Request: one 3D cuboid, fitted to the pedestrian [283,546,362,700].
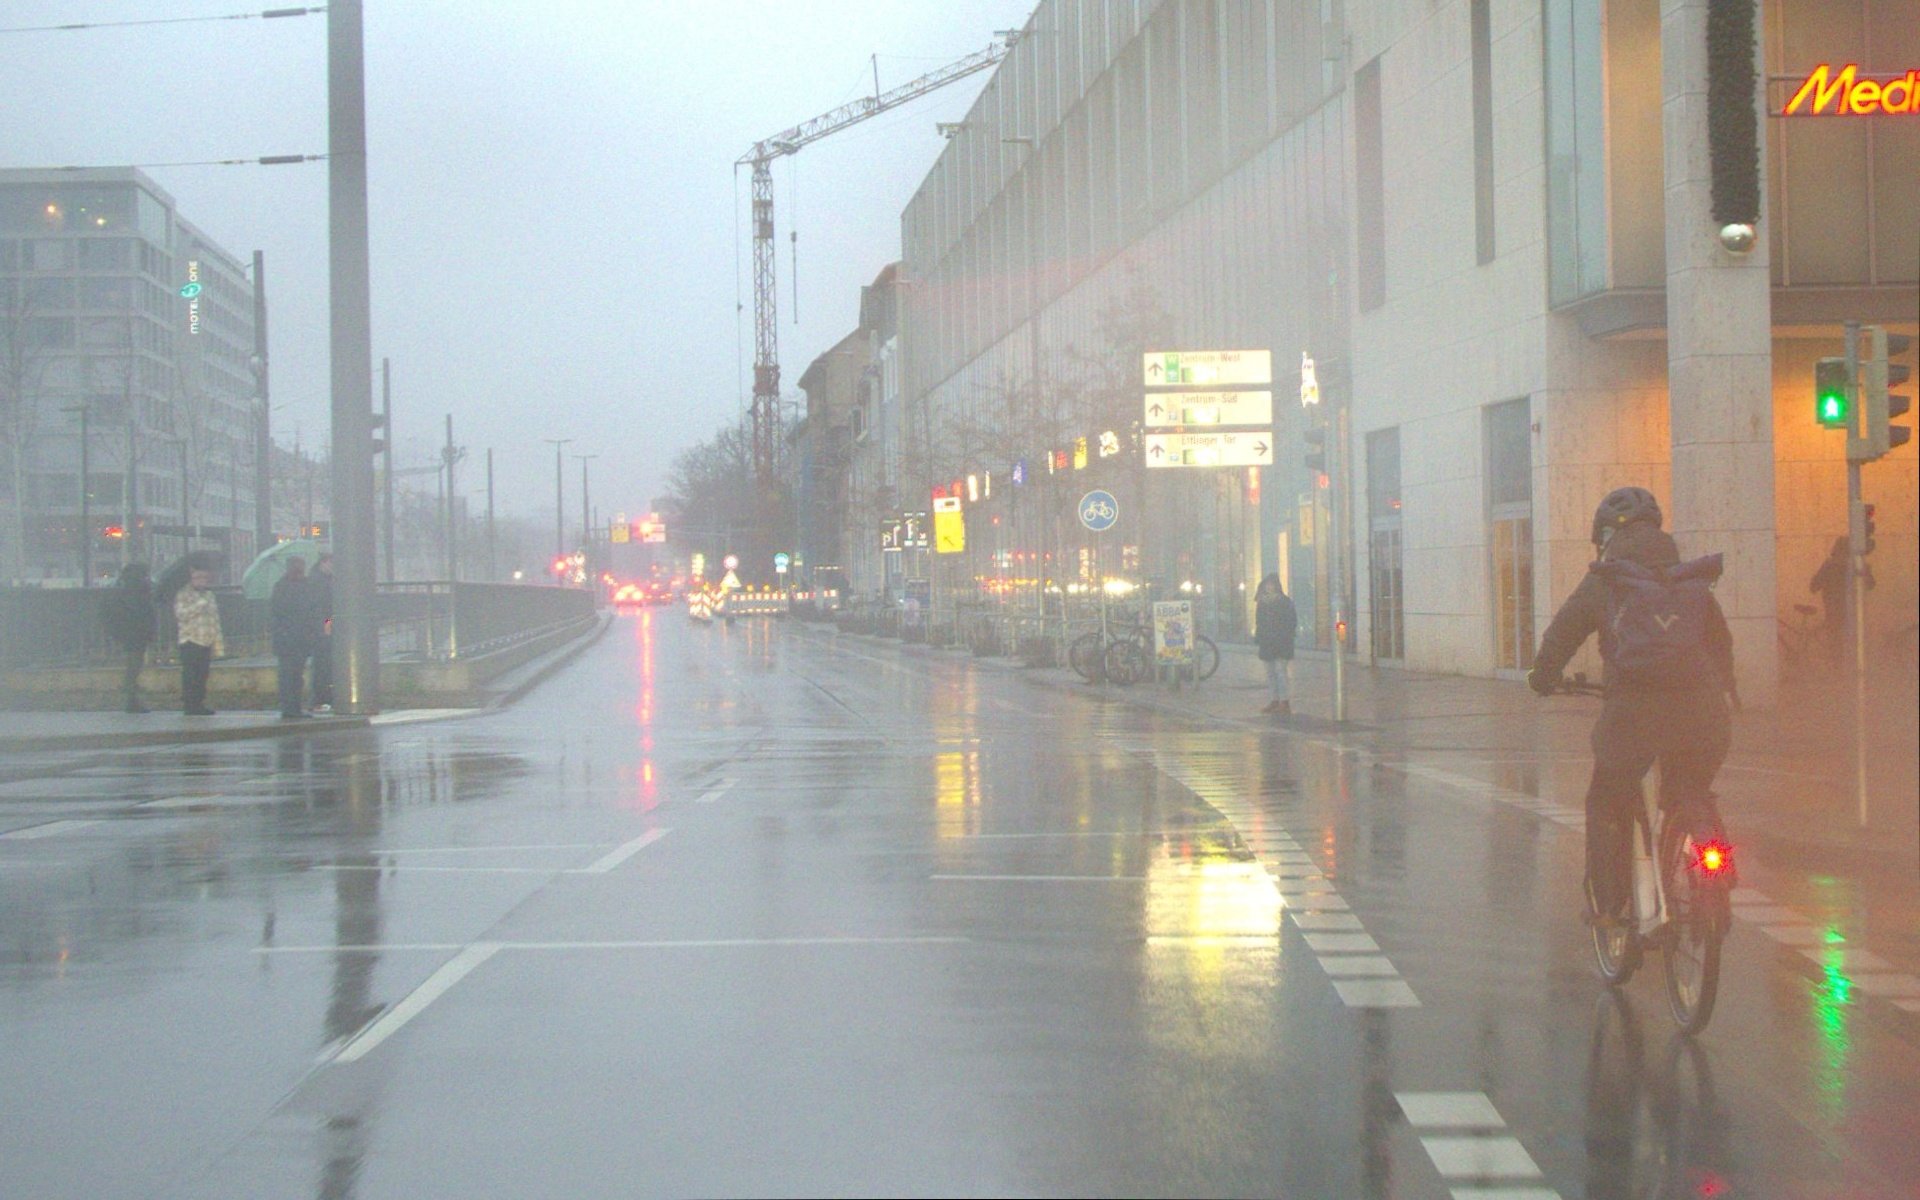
[{"bbox_3d":[-7.032,0.249,37.918,0.612,1.680,0.577,1,0,40],"label":"pedestrian"}]

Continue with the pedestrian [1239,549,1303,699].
[{"bbox_3d":[3.587,0.277,39.696,0.636,1.703,0.573,-1,0,-3],"label":"pedestrian"}]

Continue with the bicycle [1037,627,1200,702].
[{"bbox_3d":[2.440,0.992,52.950,2.425,1.095,0.712,-1,0,-3],"label":"bicycle"}]

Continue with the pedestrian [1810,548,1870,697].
[{"bbox_3d":[10.349,0.262,40.433,0.600,1.739,0.524,1,0,6],"label":"pedestrian"}]

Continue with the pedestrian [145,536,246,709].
[{"bbox_3d":[-8.189,0.242,36.823,0.821,1.825,0.786,1,0,-32],"label":"pedestrian"}]

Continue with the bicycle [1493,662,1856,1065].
[{"bbox_3d":[2.194,0.774,10.778,0.708,1.090,1.784,0,1,-2],"label":"bicycle"}]

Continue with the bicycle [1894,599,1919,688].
[{"bbox_3d":[12.186,0.530,41.547,1.646,1.066,0.525,1,0,-5],"label":"bicycle"}]

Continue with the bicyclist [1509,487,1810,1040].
[{"bbox_3d":[2.183,0.483,10.827,0.702,1.654,0.964,-1,1,-2],"label":"bicyclist"}]

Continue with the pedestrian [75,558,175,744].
[{"bbox_3d":[-9.139,0.545,37.621,0.785,2.007,0.726,1,0,40],"label":"pedestrian"}]

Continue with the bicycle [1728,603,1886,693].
[{"bbox_3d":[10.189,0.578,41.364,1.767,1.066,0.525,1,0,-10],"label":"bicycle"}]

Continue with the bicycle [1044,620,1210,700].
[{"bbox_3d":[2.529,0.911,52.186,2.442,1.150,0.674,-1,0,-3],"label":"bicycle"}]
